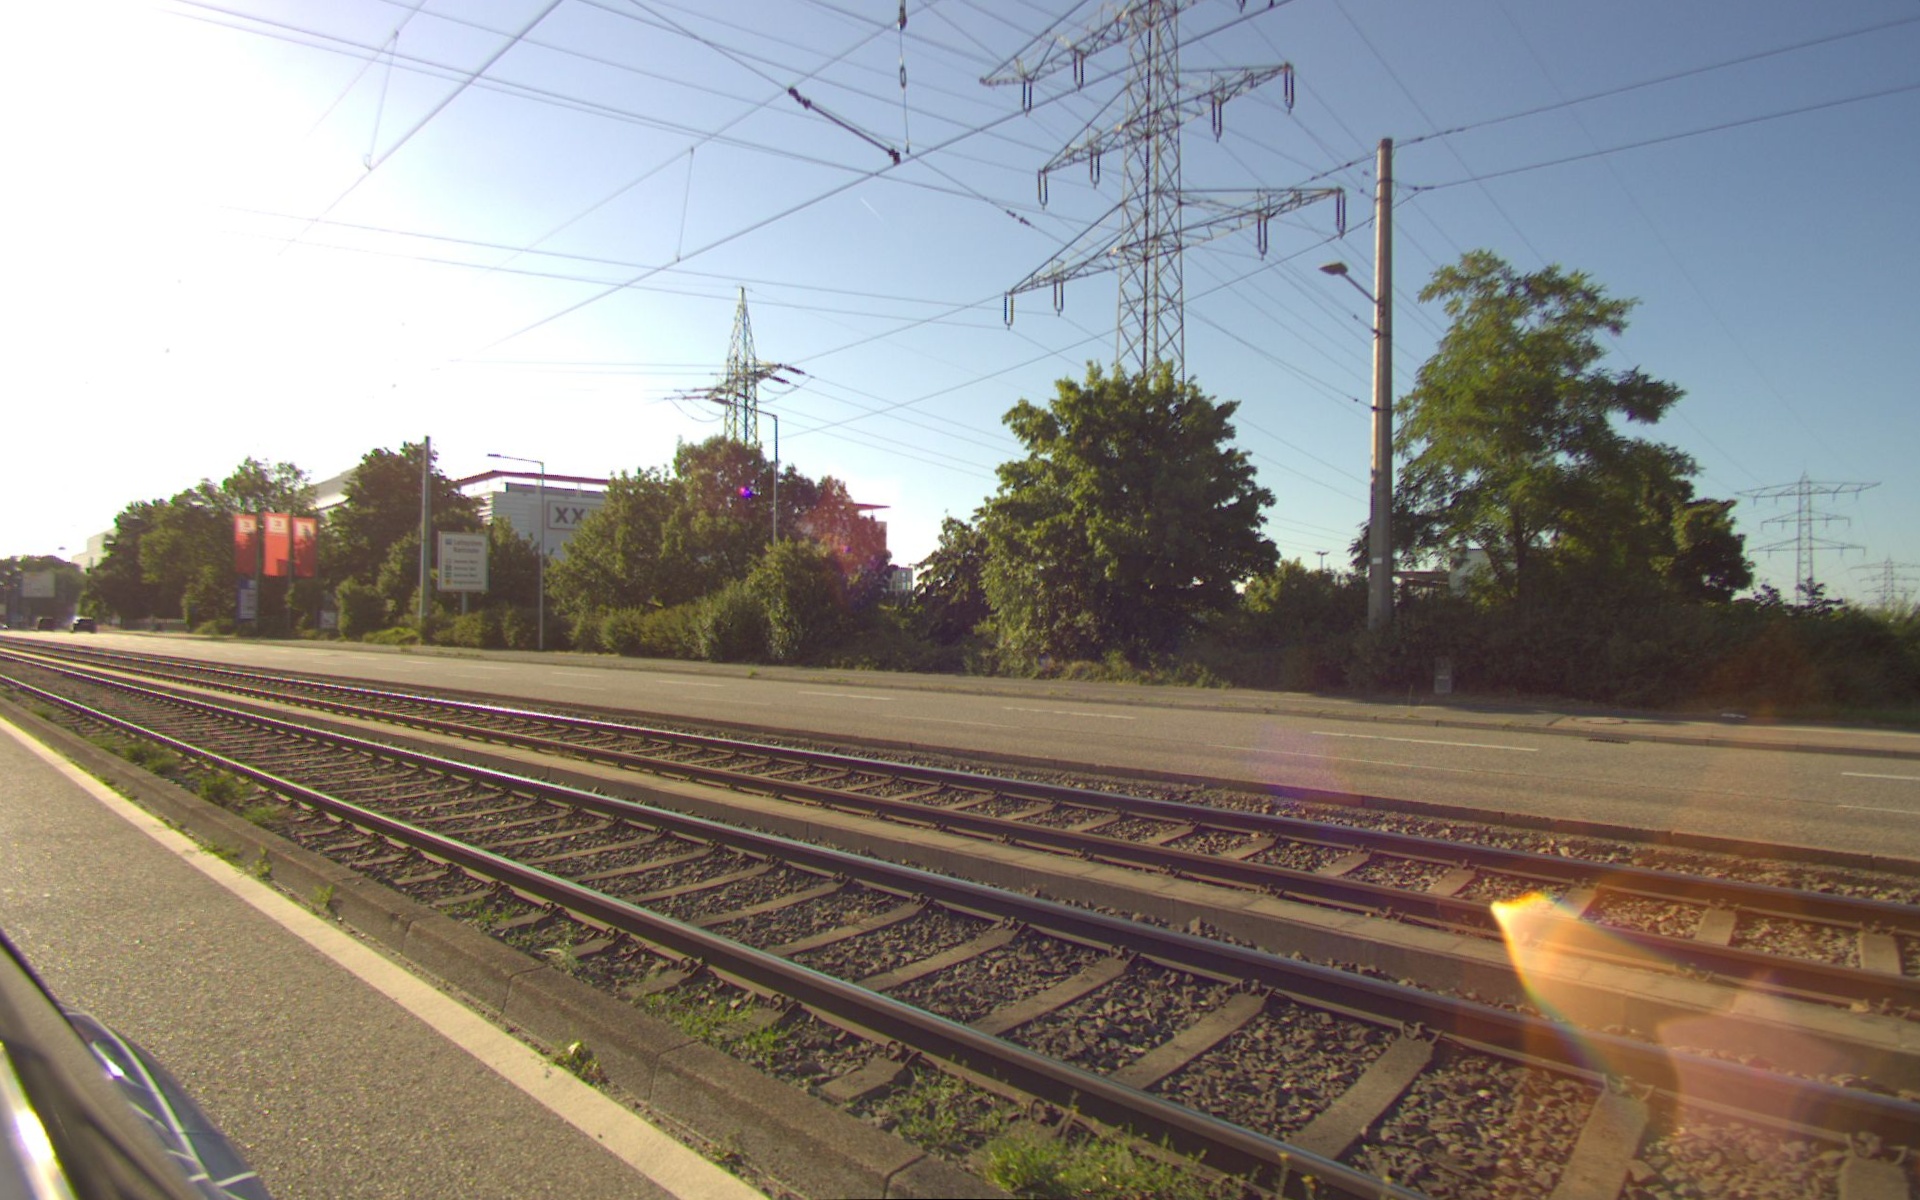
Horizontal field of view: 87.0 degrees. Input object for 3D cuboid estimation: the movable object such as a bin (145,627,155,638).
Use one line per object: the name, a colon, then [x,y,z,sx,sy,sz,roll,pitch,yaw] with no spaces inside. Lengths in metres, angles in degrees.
movable object such as a bin: [-76.955,3.076,96.126,1.083,0.973,0.606,-1,0,42]

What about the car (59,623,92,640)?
car: [-90.255,3.190,103.251,4.681,1.637,1.972,0,-2,41]

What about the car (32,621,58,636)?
car: [-115.304,3.631,127.503,4.349,1.809,1.972,-1,-3,42]
